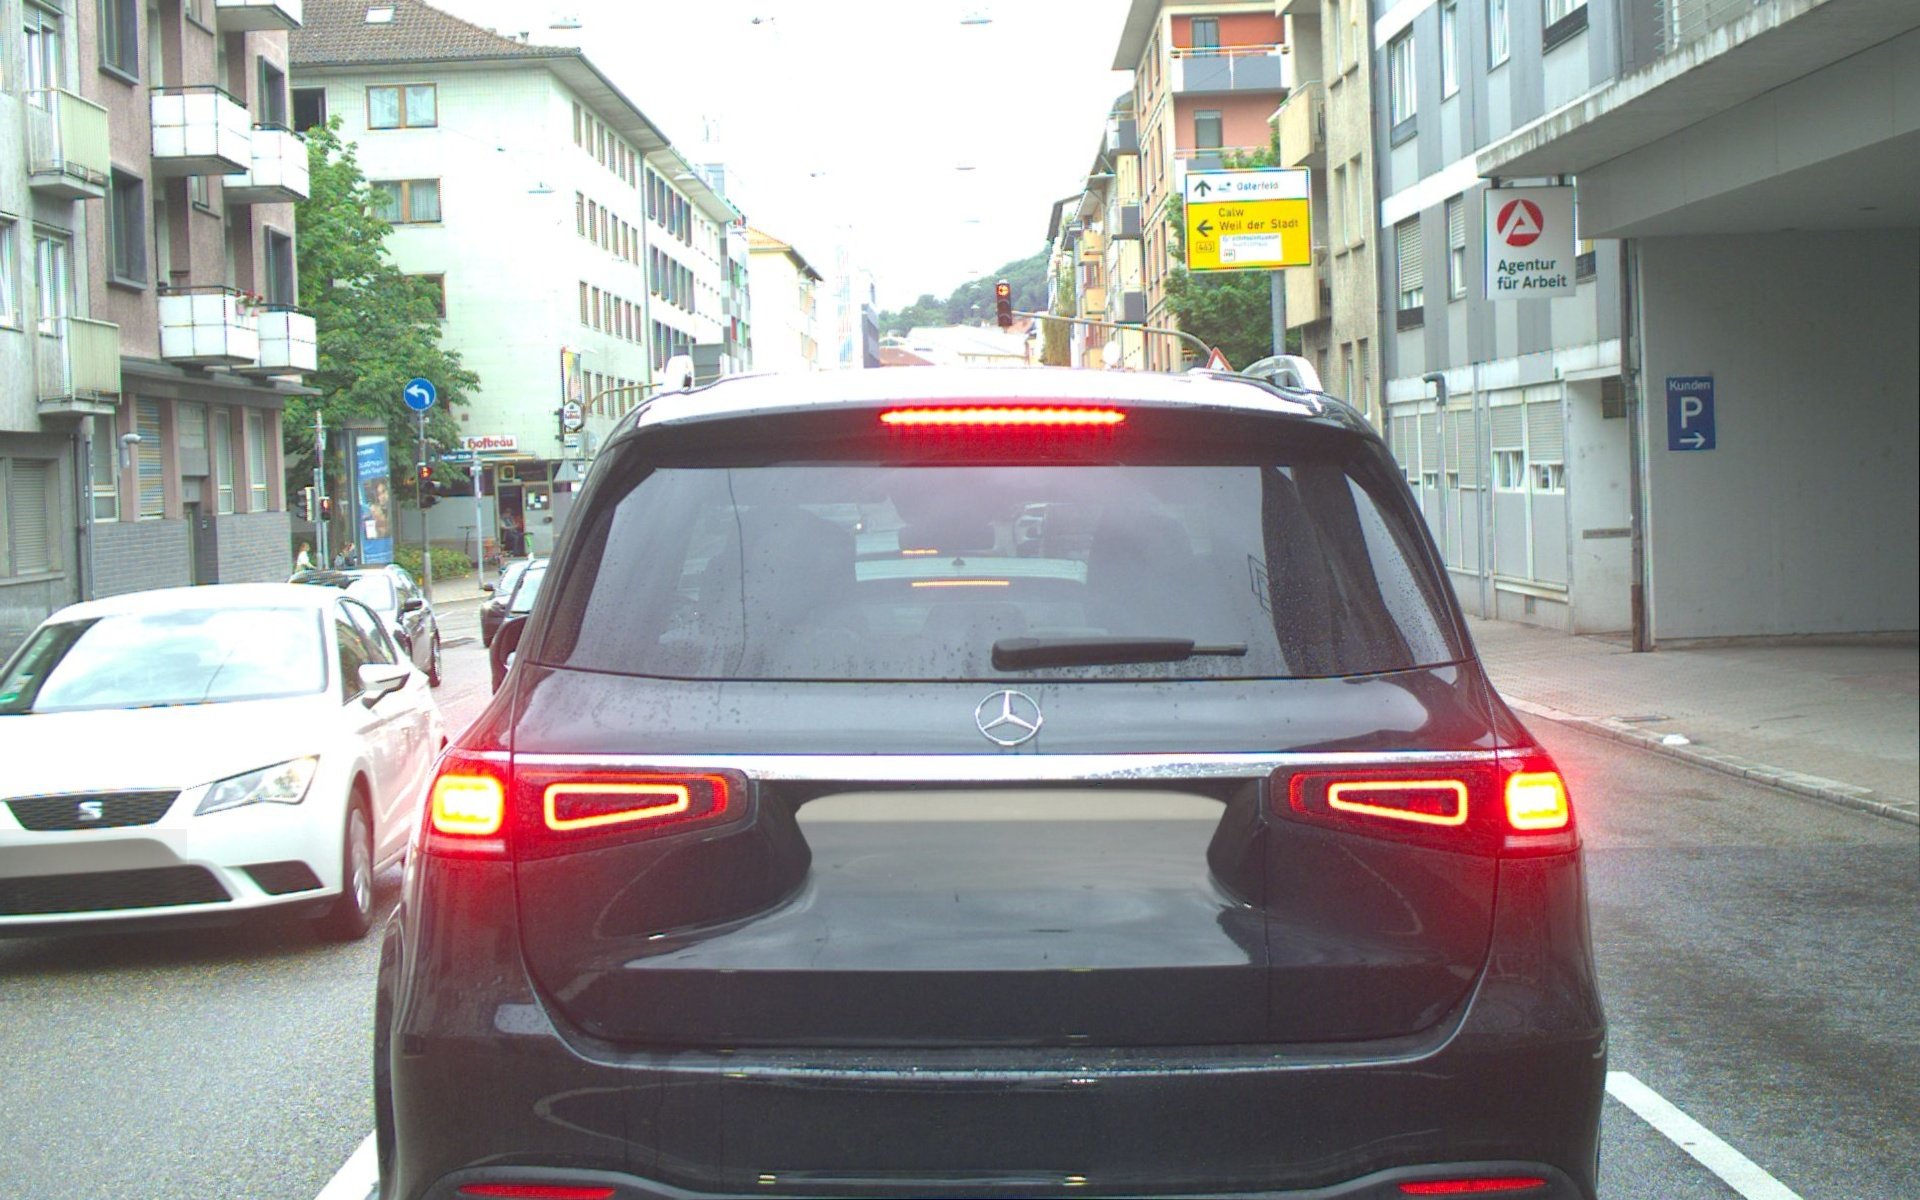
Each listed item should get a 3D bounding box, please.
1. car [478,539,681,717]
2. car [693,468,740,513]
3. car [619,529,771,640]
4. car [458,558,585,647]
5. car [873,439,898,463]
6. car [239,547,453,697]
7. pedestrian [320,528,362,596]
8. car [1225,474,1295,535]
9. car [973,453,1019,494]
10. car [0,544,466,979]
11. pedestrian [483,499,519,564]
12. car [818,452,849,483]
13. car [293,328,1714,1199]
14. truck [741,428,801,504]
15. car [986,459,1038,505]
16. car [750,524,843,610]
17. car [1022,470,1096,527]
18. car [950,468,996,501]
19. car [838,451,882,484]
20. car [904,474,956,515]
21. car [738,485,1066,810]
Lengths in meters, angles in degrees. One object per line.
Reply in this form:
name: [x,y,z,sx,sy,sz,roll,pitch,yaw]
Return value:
car: [-3.649,0.234,33.531,1.618,1.534,4.218,-3,1,-3]
car: [-9.310,-4.188,131.603,1.618,1.534,4.218,-3,1,-3]
car: [-3.606,-0.215,47.404,1.695,1.365,4.218,-4,0,0]
car: [-7.548,0.023,59.486,1.694,1.365,4.367,-4,1,-2]
car: [-5.456,-10.853,250.114,1.618,1.534,4.218,-3,1,-3]
car: [-6.929,0.203,39.196,1.723,1.468,4.375,-4,1,-2]
pedestrian: [-16.237,-1.001,90.149,0.772,1.758,0.636,-1,1,32]
car: [8.231,-2.627,94.621,1.671,1.583,3.330,-2,1,2]
car: [1.519,-5.376,146.177,1.618,1.534,4.218,-3,1,-3]
car: [-3.269,0.593,14.714,1.744,1.534,4.053,-3,1,-2]
pedestrian: [-13.603,-2.028,101.969,0.923,1.895,0.706,-2,1,-2]
car: [-7.134,-7.475,193.649,1.618,1.534,4.218,-3,1,-3]
car: [0.033,0.508,7.035,1.985,1.799,4.390,1,1,-1]
truck: [-8.604,-6.083,157.020,2.479,3.035,9.921,-3,1,-3]
car: [1.927,-4.397,128.655,1.618,1.534,4.218,-3,1,-3]
car: [-3.241,-0.650,68.825,1.694,1.575,4.218,-4,0,-2]
car: [2.663,-2.743,93.336,1.618,1.382,4.218,-3,1,-3]
car: [0.607,-5.451,163.058,1.885,1.367,4.218,-3,1,-3]
car: [-4.637,-6.102,158.725,1.885,1.260,4.218,-3,1,-3]
car: [-1.218,-4.201,137.209,1.993,1.483,4.000,-2,1,-1]
car: [-0.416,0.240,20.849,1.751,1.725,4.218,-1,1,-3]
